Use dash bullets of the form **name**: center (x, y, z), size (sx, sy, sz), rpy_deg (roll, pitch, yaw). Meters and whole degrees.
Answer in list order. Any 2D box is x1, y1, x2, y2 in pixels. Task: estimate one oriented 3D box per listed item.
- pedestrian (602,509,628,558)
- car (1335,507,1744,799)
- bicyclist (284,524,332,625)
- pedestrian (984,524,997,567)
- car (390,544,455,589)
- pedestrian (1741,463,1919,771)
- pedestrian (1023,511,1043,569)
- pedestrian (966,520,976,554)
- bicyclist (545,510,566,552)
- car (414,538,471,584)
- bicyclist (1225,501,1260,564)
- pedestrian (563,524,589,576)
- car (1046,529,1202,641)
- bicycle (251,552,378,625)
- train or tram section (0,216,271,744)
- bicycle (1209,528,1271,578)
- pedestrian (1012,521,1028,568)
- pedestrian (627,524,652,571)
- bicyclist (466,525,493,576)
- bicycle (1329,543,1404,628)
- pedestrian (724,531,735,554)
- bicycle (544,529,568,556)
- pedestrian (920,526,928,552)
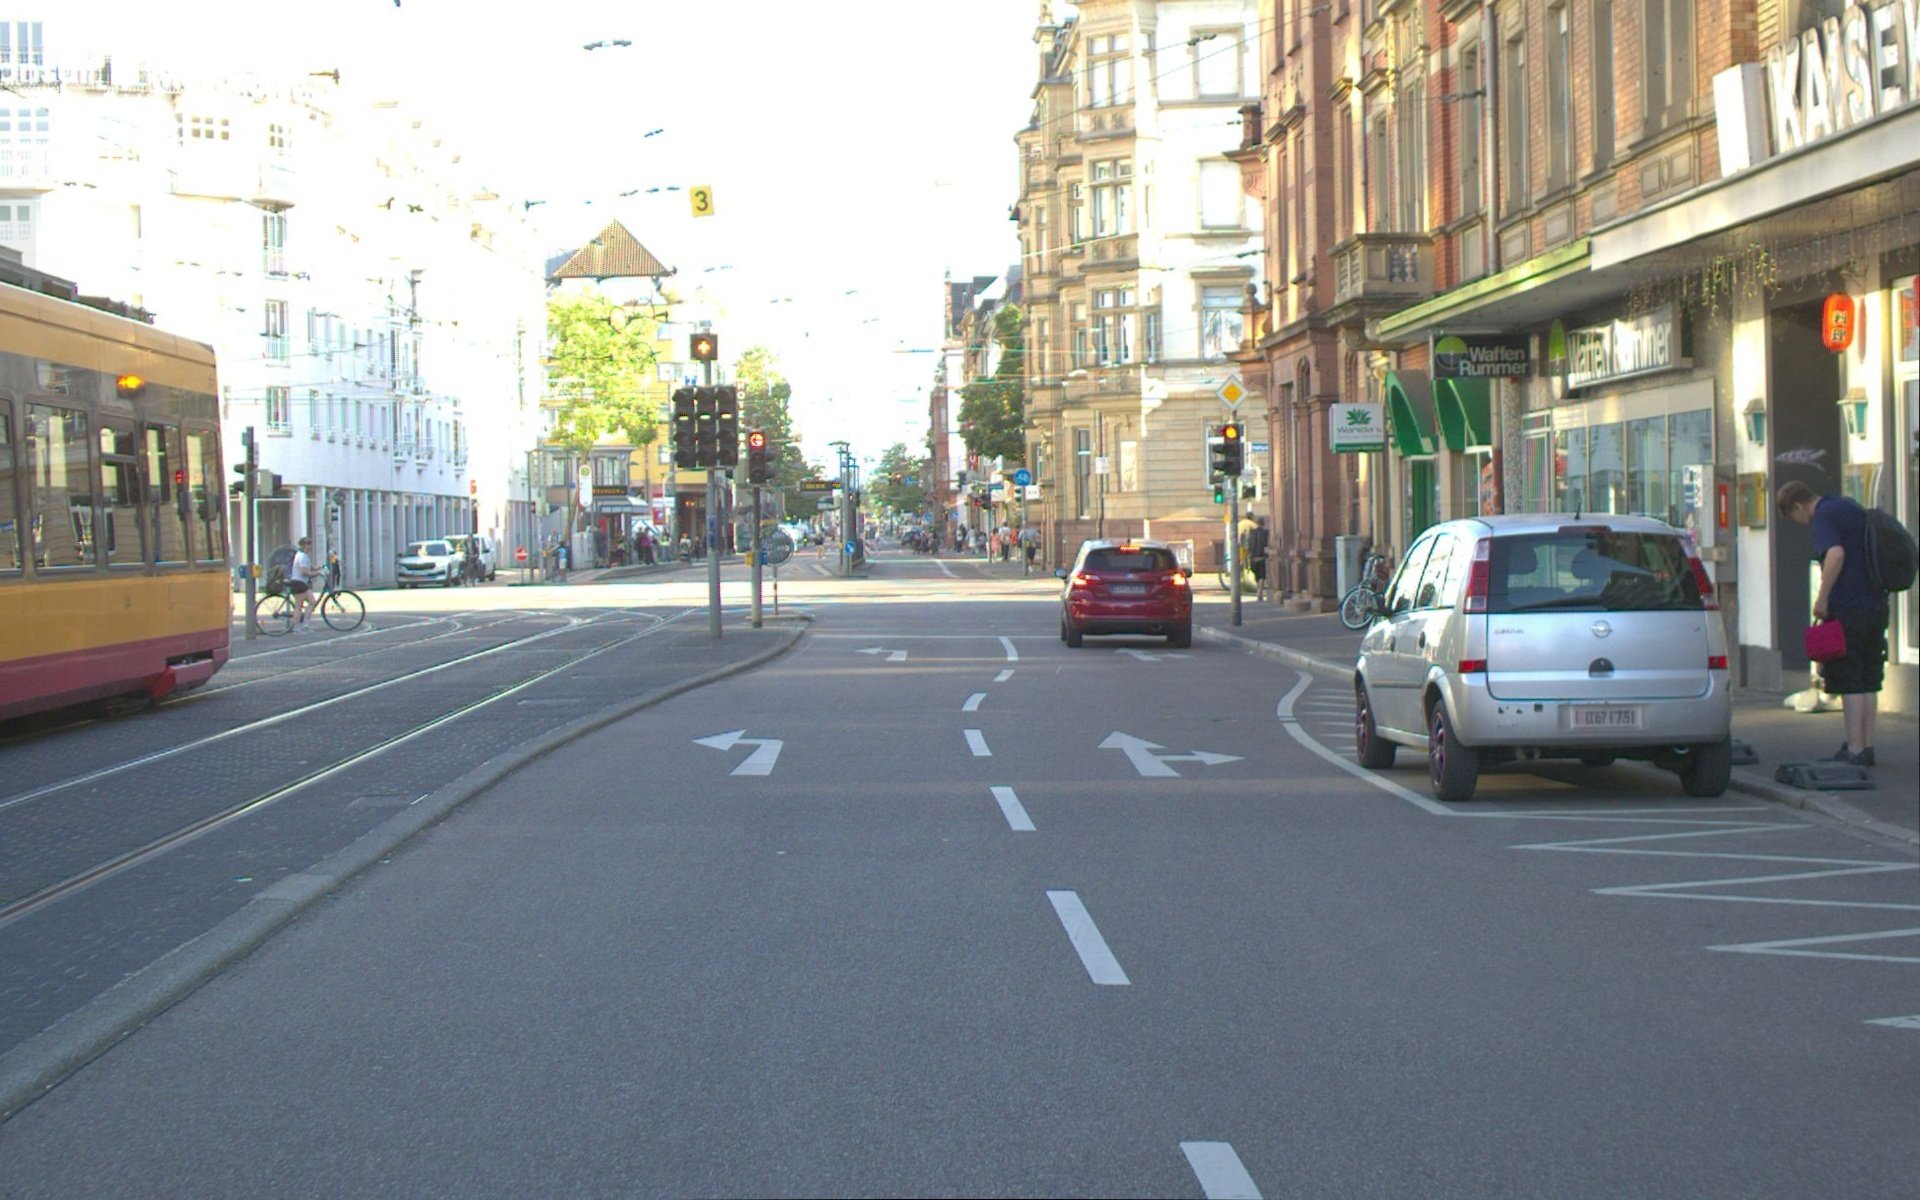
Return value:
- **pedestrian**: center (-14.327, -2.753, 142.688), size (0.956, 2.007, 1.049), rpy_deg (-1, 1, -1)
- **car**: center (3.420, 0.261, 20.977), size (1.637, 1.609, 3.946), rpy_deg (0, 1, -3)
- **bicyclist**: center (-10.579, -0.420, 55.756), size (0.729, 1.621, 0.766), rpy_deg (0, 1, -13)
- **pedestrian**: center (1.424, -2.541, 160.191), size (0.577, 2.007, 0.631), rpy_deg (0, 1, 5)
- **car**: center (-19.087, -1.202, 122.187), size (1.765, 1.540, 3.461), rpy_deg (-1, 1, 0)
- **pedestrian**: center (5.339, 0.088, 20.739), size (0.946, 1.786, 1.055), rpy_deg (-2, 1, -2)
- **pedestrian**: center (2.576, -2.118, 121.336), size (0.651, 2.007, 0.760), rpy_deg (-1, 1, -2)
- **pedestrian**: center (0.665, -3.729, 202.460), size (0.577, 2.007, 0.631), rpy_deg (-1, 1, 0)
- **bicyclist**: center (-17.613, -2.993, 149.788), size (0.807, 1.815, 0.993), rpy_deg (-1, 1, -1)
- **car**: center (-19.815, -1.505, 131.815), size (1.701, 1.713, 3.564), rpy_deg (-1, 1, -1)
- **bicyclist**: center (6.367, -1.520, 77.526), size (0.657, 1.404, 0.422), rpy_deg (-2, 1, -32)
- **pedestrian**: center (-12.842, -1.677, 114.975), size (0.768, 1.724, 0.572), rpy_deg (0, 1, 1)
- **car**: center (2.216, -0.234, 47.446), size (1.754, 1.461, 3.946), rpy_deg (1, 1, -3)
- **bicycle**: center (-10.551, -0.191, 56.183), size (2.017, 1.173, 0.628), rpy_deg (0, 1, -13)
- **train or tram section**: center (-7.886, -0.842, 26.966), size (2.675, 3.539, 12.843), rpy_deg (-1, 1, -2)
- **bicycle**: center (6.312, -1.073, 77.499), size (1.408, 1.092, 0.422), rpy_deg (-2, 1, -32)
- **pedestrian**: center (2.579, -2.389, 147.414), size (0.646, 2.007, 0.683), rpy_deg (0, 1, -1)
- **pedestrian**: center (-13.885, -2.286, 149.044), size (1.045, 2.007, 0.959), rpy_deg (-1, 1, -3)
- **bicyclist**: center (-16.560, -1.704, 118.473), size (0.807, 1.720, 0.794), rpy_deg (-1, 1, -2)
- **bicycle**: center (5.780, -0.213, 48.799), size (0.716, 1.148, 1.654), rpy_deg (-2, 1, 17)
- **pedestrian**: center (-16.043, -4.006, 239.148), size (0.628, 1.599, 0.579), rpy_deg (-1, 1, -17)
- **bicycle**: center (-17.615, -2.522, 149.967), size (0.807, 1.143, 2.010), rpy_deg (-1, 1, -1)
- **pedestrian**: center (-2.579, -4.354, 245.762), size (0.577, 1.881, 0.669), rpy_deg (-1, 1, -1)
